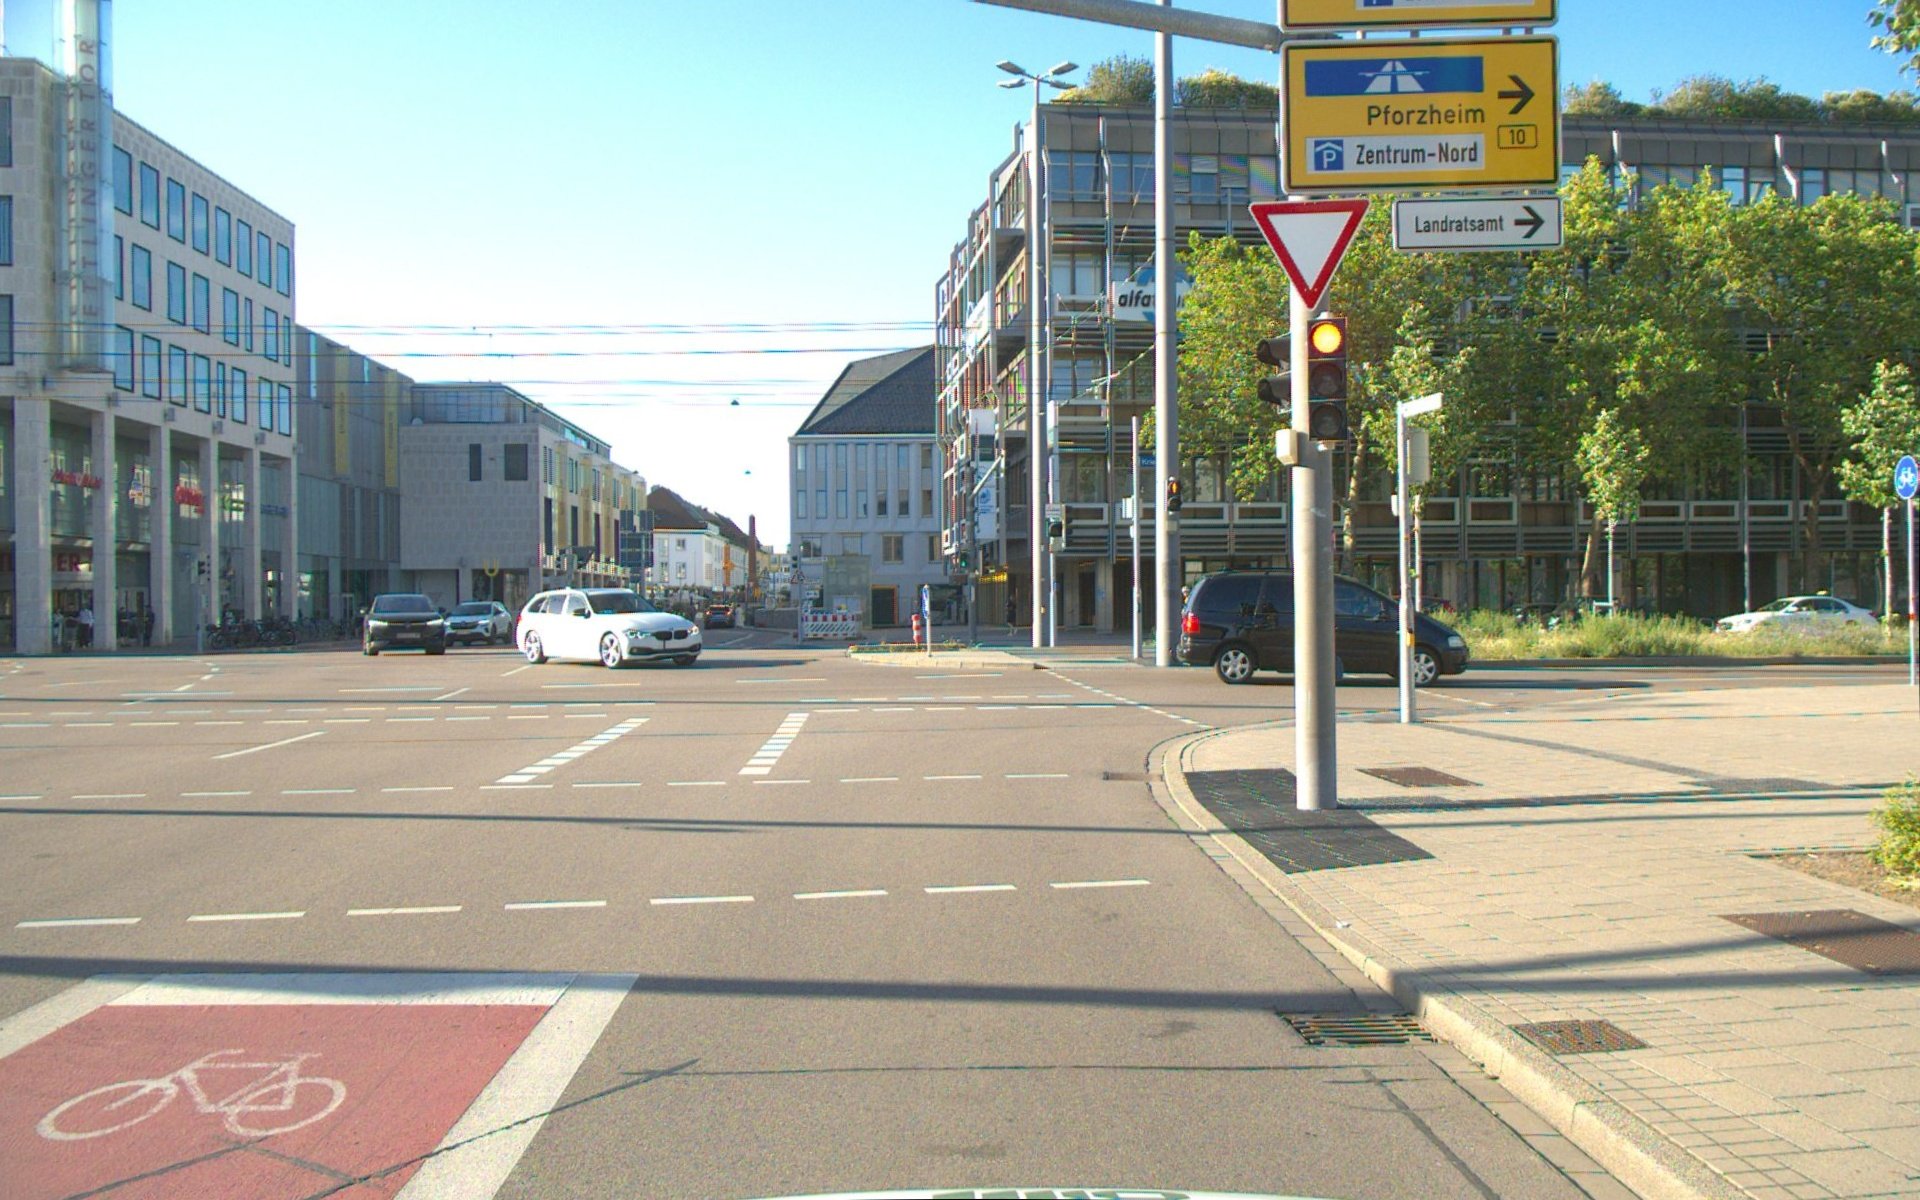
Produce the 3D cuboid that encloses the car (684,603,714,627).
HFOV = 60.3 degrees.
[{"bbox_3d":[-20.036,1.142,127.135,1.954,1.689,4.402,-1,0,-5],"label":"car"}]

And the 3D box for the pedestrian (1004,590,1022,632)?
[{"bbox_3d":[2.182,0.454,67.605,0.650,1.687,0.755,-1,0,-4],"label":"pedestrian"}]

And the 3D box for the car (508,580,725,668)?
[{"bbox_3d":[-6.663,0.436,31.765,1.984,1.554,4.628,-1,0,-43],"label":"car"}]

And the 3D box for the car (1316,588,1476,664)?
[{"bbox_3d":[12.233,0.723,46.572,3.908,2.049,1.999,1,0,-3],"label":"car"}]

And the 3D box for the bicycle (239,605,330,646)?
[{"bbox_3d":[-28.865,1.079,70.708,3.427,1.726,1.114,-1,0,-10],"label":"bicycle"}]

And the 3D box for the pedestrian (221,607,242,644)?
[{"bbox_3d":[-33.244,1.159,75.471,0.772,1.671,0.691,-1,0,-19],"label":"pedestrian"}]

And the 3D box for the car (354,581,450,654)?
[{"bbox_3d":[-14.360,0.385,42.395,1.967,1.629,4.919,-1,2,-23],"label":"car"}]

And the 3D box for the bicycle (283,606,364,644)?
[{"bbox_3d":[-30.334,1.178,78.863,3.430,1.726,0.984,-1,0,-12],"label":"bicycle"}]

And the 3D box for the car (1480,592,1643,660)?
[{"bbox_3d":[18.829,0.808,51.872,4.359,2.049,1.998,1,0,-6],"label":"car"}]

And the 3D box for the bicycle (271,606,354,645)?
[{"bbox_3d":[-30.035,1.170,76.777,3.430,1.726,0.984,-1,0,-12],"label":"bicycle"}]

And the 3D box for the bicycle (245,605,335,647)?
[{"bbox_3d":[-29.095,1.115,71.921,3.427,1.726,1.114,-1,0,-10],"label":"bicycle"}]

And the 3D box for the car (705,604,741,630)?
[{"bbox_3d":[-15.491,1.076,108.158,2.157,1.635,4.320,-1,0,-6],"label":"car"}]

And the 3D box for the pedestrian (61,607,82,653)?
[{"bbox_3d":[-32.640,1.109,60.767,0.531,1.671,0.549,-1,0,-12],"label":"pedestrian"}]

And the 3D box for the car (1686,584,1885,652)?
[{"bbox_3d":[26.174,0.564,52.568,5.332,2.049,2.096,1,0,-3],"label":"car"}]

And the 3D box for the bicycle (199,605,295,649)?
[{"bbox_3d":[-29.319,1.106,68.028,3.427,1.726,1.114,-1,0,-10],"label":"bicycle"}]

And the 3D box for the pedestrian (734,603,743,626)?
[{"bbox_3d":[-14.474,0.942,108.141,0.598,1.436,0.569,-1,0,-7],"label":"pedestrian"}]

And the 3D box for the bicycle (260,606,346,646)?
[{"bbox_3d":[-29.570,1.160,74.489,3.430,1.726,0.984,-1,0,-12],"label":"bicycle"}]

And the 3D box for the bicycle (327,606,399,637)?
[{"bbox_3d":[-31.068,1.109,86.123,3.430,1.554,0.984,-1,0,-12],"label":"bicycle"}]

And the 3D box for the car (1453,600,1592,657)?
[{"bbox_3d":[18.683,0.936,55.006,3.908,1.780,1.998,1,0,-5],"label":"car"}]

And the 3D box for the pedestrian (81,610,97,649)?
[{"bbox_3d":[-35.940,1.211,68.256,0.420,1.613,0.498,-1,0,-5],"label":"pedestrian"}]

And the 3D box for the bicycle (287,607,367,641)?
[{"bbox_3d":[-30.538,1.161,79.852,3.430,1.554,0.984,-1,0,-12],"label":"bicycle"}]

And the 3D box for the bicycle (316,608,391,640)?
[{"bbox_3d":[-30.880,1.201,84.262,3.430,1.554,0.984,-1,0,-12],"label":"bicycle"}]

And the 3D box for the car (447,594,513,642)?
[{"bbox_3d":[-18.055,0.673,62.356,1.958,1.689,4.394,-1,0,-11],"label":"car"}]

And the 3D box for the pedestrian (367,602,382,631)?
[{"bbox_3d":[-34.023,0.956,96.105,0.641,1.671,0.693,-1,0,-9],"label":"pedestrian"}]

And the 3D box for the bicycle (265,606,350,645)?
[{"bbox_3d":[-29.794,1.169,75.577,3.430,1.726,0.984,-1,0,-12],"label":"bicycle"}]

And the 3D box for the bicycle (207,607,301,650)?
[{"bbox_3d":[-29.555,1.167,69.253,3.427,1.726,1.114,-1,0,-10],"label":"bicycle"}]

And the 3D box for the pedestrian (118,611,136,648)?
[{"bbox_3d":[-35.049,1.241,69.560,0.501,1.537,0.513,-1,0,-5],"label":"pedestrian"}]

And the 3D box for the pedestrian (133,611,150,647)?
[{"bbox_3d":[-34.734,1.223,70.220,0.472,1.537,0.513,-1,0,-5],"label":"pedestrian"}]

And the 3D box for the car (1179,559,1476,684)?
[{"bbox_3d":[5.691,0.318,26.101,4.377,1.788,2.002,-1,3,6],"label":"car"}]
